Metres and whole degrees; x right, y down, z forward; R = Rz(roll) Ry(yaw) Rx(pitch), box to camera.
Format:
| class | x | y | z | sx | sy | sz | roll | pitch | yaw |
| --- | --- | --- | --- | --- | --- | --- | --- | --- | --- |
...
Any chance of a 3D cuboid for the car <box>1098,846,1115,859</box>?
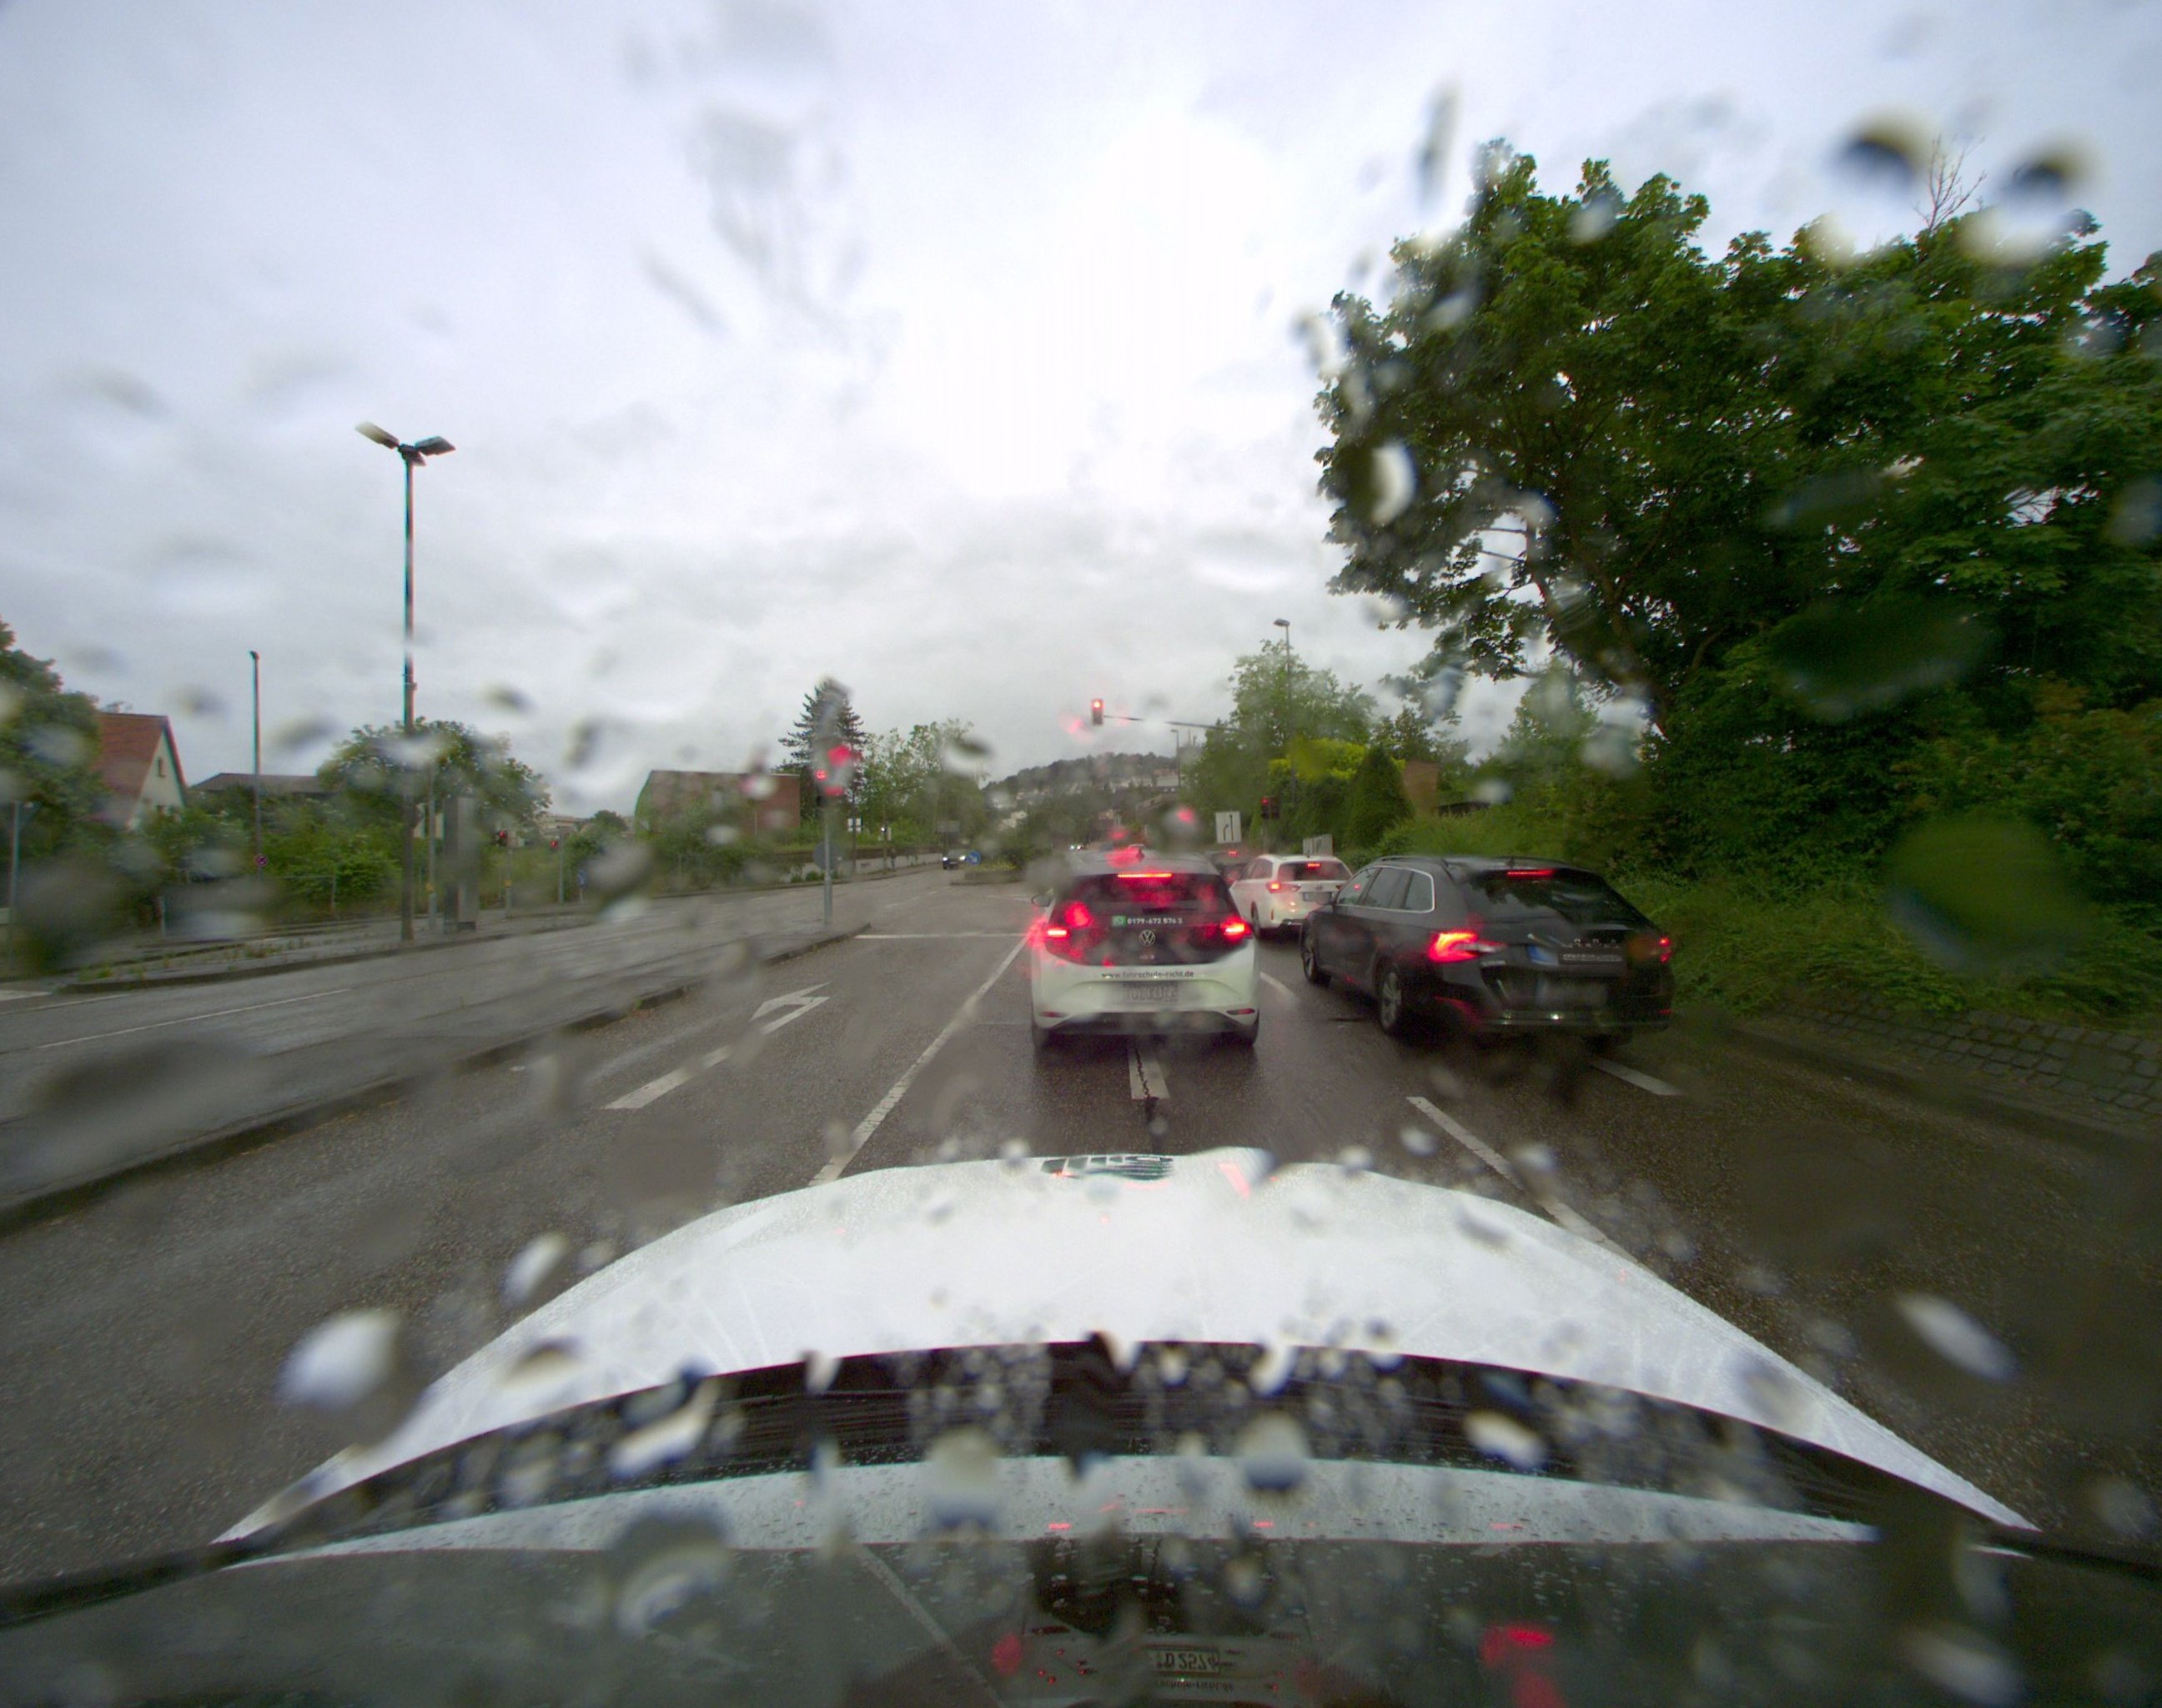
| class | x | y | z | sx | sy | sz | roll | pitch | yaw |
| --- | --- | --- | --- | --- | --- | --- | --- | --- | --- |
| car | 2.981 | -0.208 | 95.148 | 1.755 | 1.418 | 3.748 | -3 | 0 | 0 |

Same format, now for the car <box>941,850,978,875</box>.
| class | x | y | z | sx | sy | sz | roll | pitch | yaw |
| --- | --- | --- | --- | --- | --- | --- | --- | --- | --- |
| car | -9.450 | 0.656 | 63.614 | 1.986 | 1.804 | 4.002 | -4 | 0 | 2 |

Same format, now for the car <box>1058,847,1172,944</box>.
| class | x | y | z | sx | sy | sz | roll | pitch | yaw |
| --- | --- | --- | --- | --- | --- | --- | --- | --- | --- |
| car | 0.587 | 0.648 | 15.158 | 1.831 | 1.555 | 4.176 | 0 | 0 | 1 |

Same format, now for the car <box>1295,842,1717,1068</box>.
| class | x | y | z | sx | sy | sz | roll | pitch | yaw |
| --- | --- | --- | --- | --- | --- | --- | --- | --- | --- |
| car | 3.344 | 0.644 | 7.501 | 1.830 | 1.466 | 4.353 | 0 | 0 | 3 |

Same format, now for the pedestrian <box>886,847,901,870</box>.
| class | x | y | z | sx | sy | sz | roll | pitch | yaw |
| --- | --- | --- | --- | --- | --- | --- | --- | --- | --- |
| pedestrian | -13.368 | 0.313 | 57.959 | 0.757 | 1.568 | 0.825 | -4 | 0 | 1 |

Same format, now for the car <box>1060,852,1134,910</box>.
| class | x | y | z | sx | sy | sz | roll | pitch | yaw |
| --- | --- | --- | --- | --- | --- | --- | --- | --- | --- |
| car | 0.435 | 0.664 | 22.099 | 1.831 | 1.400 | 3.832 | 0 | 0 | 1 |

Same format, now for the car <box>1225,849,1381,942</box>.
| class | x | y | z | sx | sy | sz | roll | pitch | yaw |
| --- | --- | --- | --- | --- | --- | --- | --- | --- | --- |
| car | 3.879 | 0.643 | 14.968 | 1.831 | 1.466 | 4.118 | 0 | 0 | 1 |

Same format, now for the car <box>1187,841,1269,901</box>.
| class | x | y | z | sx | sy | sz | roll | pitch | yaw |
| --- | --- | --- | --- | --- | --- | --- | --- | --- | --- |
| car | 4.107 | 0.464 | 23.355 | 1.769 | 1.581 | 4.002 | 0 | 0 | 2 |

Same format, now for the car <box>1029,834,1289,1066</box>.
| class | x | y | z | sx | sy | sz | roll | pitch | yaw |
| --- | --- | --- | --- | --- | --- | --- | --- | --- | --- |
| car | 0.602 | 0.660 | 8.038 | 1.831 | 1.629 | 4.617 | 0 | 0 | 1 |

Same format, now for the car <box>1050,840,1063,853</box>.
| class | x | y | z | sx | sy | sz | roll | pitch | yaw |
| --- | --- | --- | --- | --- | --- | --- | --- | --- | --- |
| car | -4.163 | -1.257 | 140.712 | 1.986 | 2.014 | 4.002 | -1 | -1 | 2 |

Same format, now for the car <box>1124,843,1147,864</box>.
| class | x | y | z | sx | sy | sz | roll | pitch | yaw |
| --- | --- | --- | --- | --- | --- | --- | --- | --- | --- |
| car | 4.262 | -0.021 | 64.138 | 1.575 | 1.467 | 4.000 | -3 | -1 | 1 |
